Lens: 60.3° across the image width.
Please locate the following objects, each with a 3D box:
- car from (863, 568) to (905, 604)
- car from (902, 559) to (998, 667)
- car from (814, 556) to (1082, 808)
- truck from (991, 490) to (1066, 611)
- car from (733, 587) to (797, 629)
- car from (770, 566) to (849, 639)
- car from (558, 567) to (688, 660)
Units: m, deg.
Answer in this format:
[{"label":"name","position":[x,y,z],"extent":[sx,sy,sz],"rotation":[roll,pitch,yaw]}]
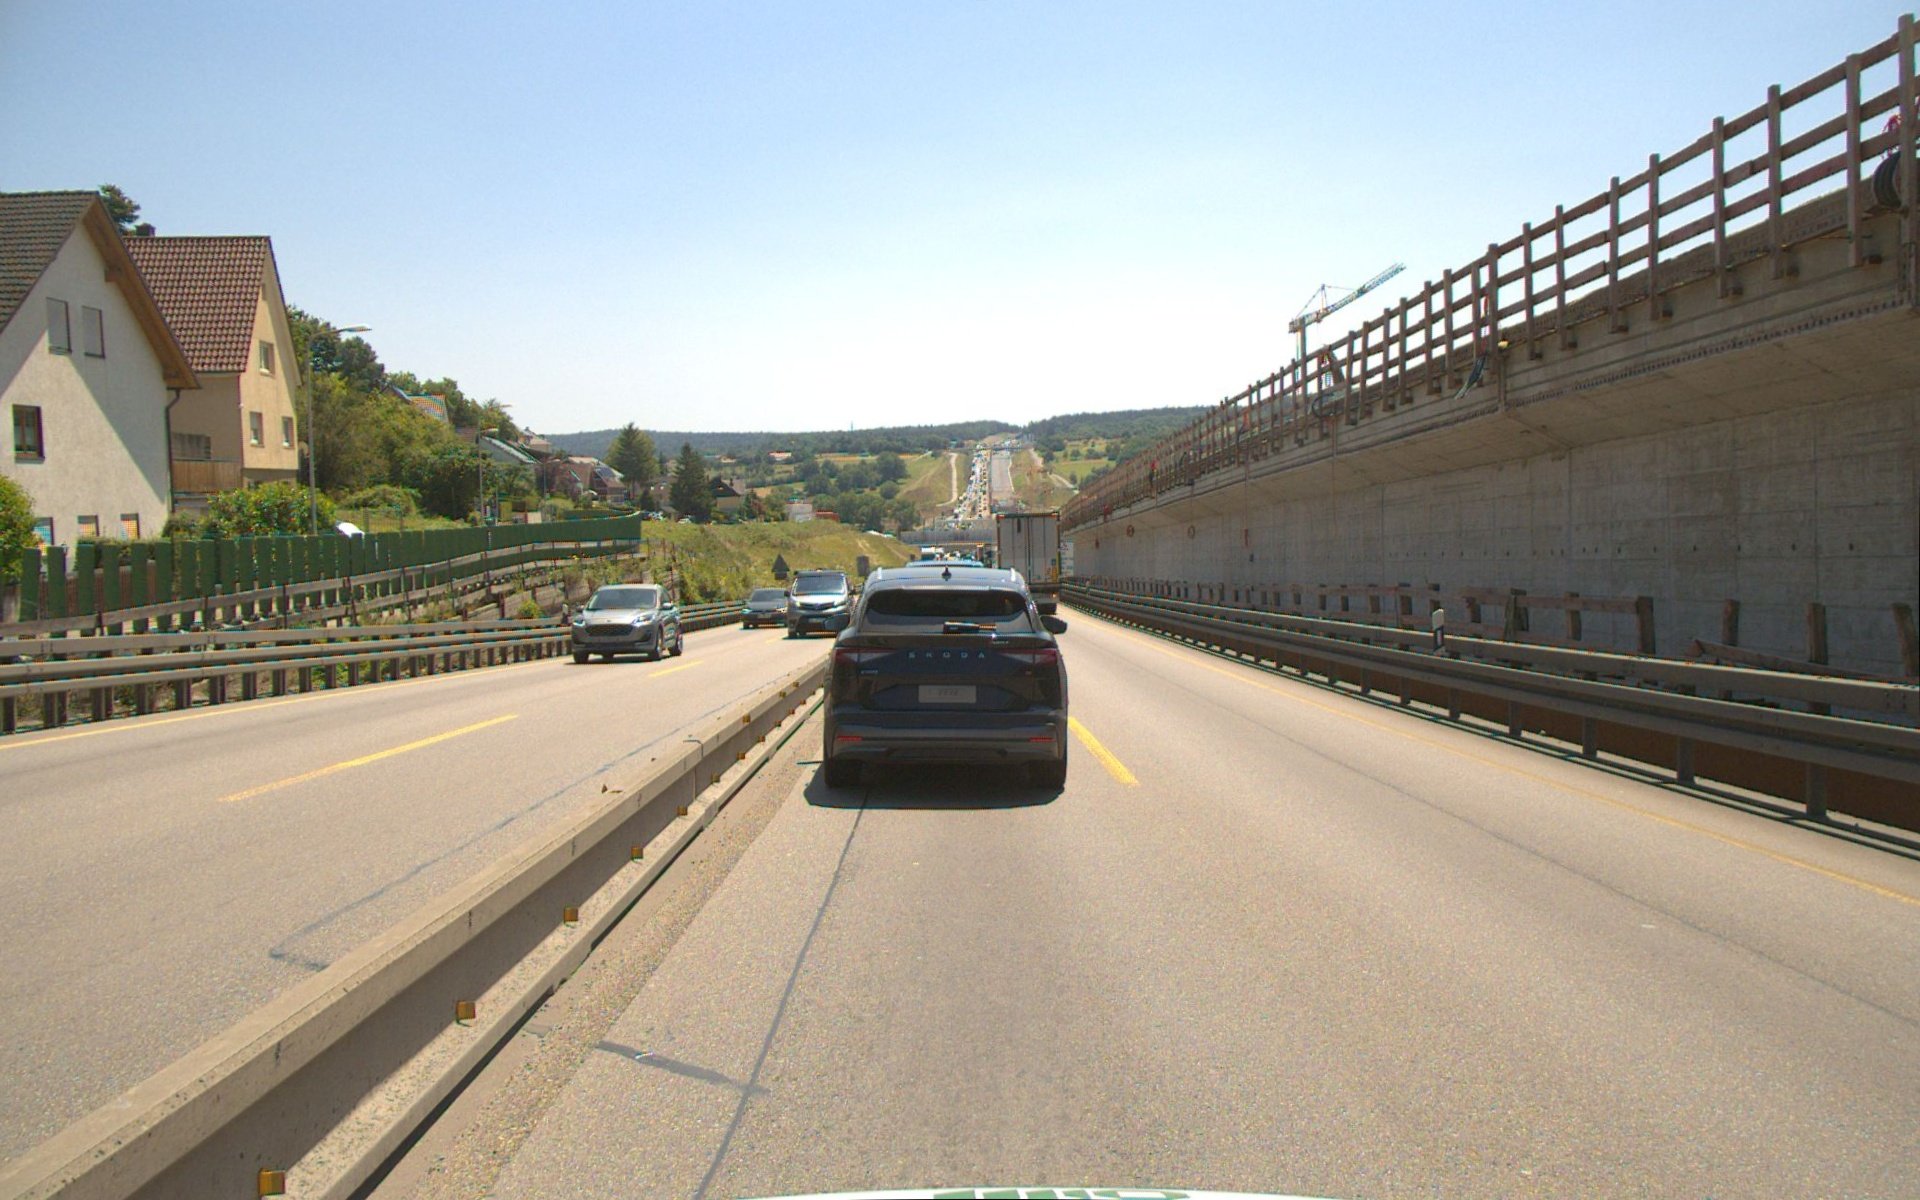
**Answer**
[{"label":"car","position":[-4.258,-0.795,93.393],"extent":[2.113,1.939,5.325],"rotation":[-1,0,-1]},{"label":"car","position":[-0.242,0.217,31.365],"extent":[1.714,1.928,3.754],"rotation":[0,1,-2]},{"label":"car","position":[-0.104,0.532,13.048],"extent":[1.746,1.625,3.755],"rotation":[-2,1,-1]},{"label":"truck","position":[2.837,-1.977,71.567],"extent":[2.787,4.696,11.812],"rotation":[-2,0,1]},{"label":"car","position":[-7.317,0.291,62.314],"extent":[1.953,1.467,4.363],"rotation":[1,0,-1]},{"label":"car","position":[-4.535,0.064,50.479],"extent":[1.953,2.049,4.968],"rotation":[-1,0,0]},{"label":"car","position":[-7.282,0.272,36.175],"extent":[1.953,1.859,4.507],"rotation":[-2,0,-1]}]
